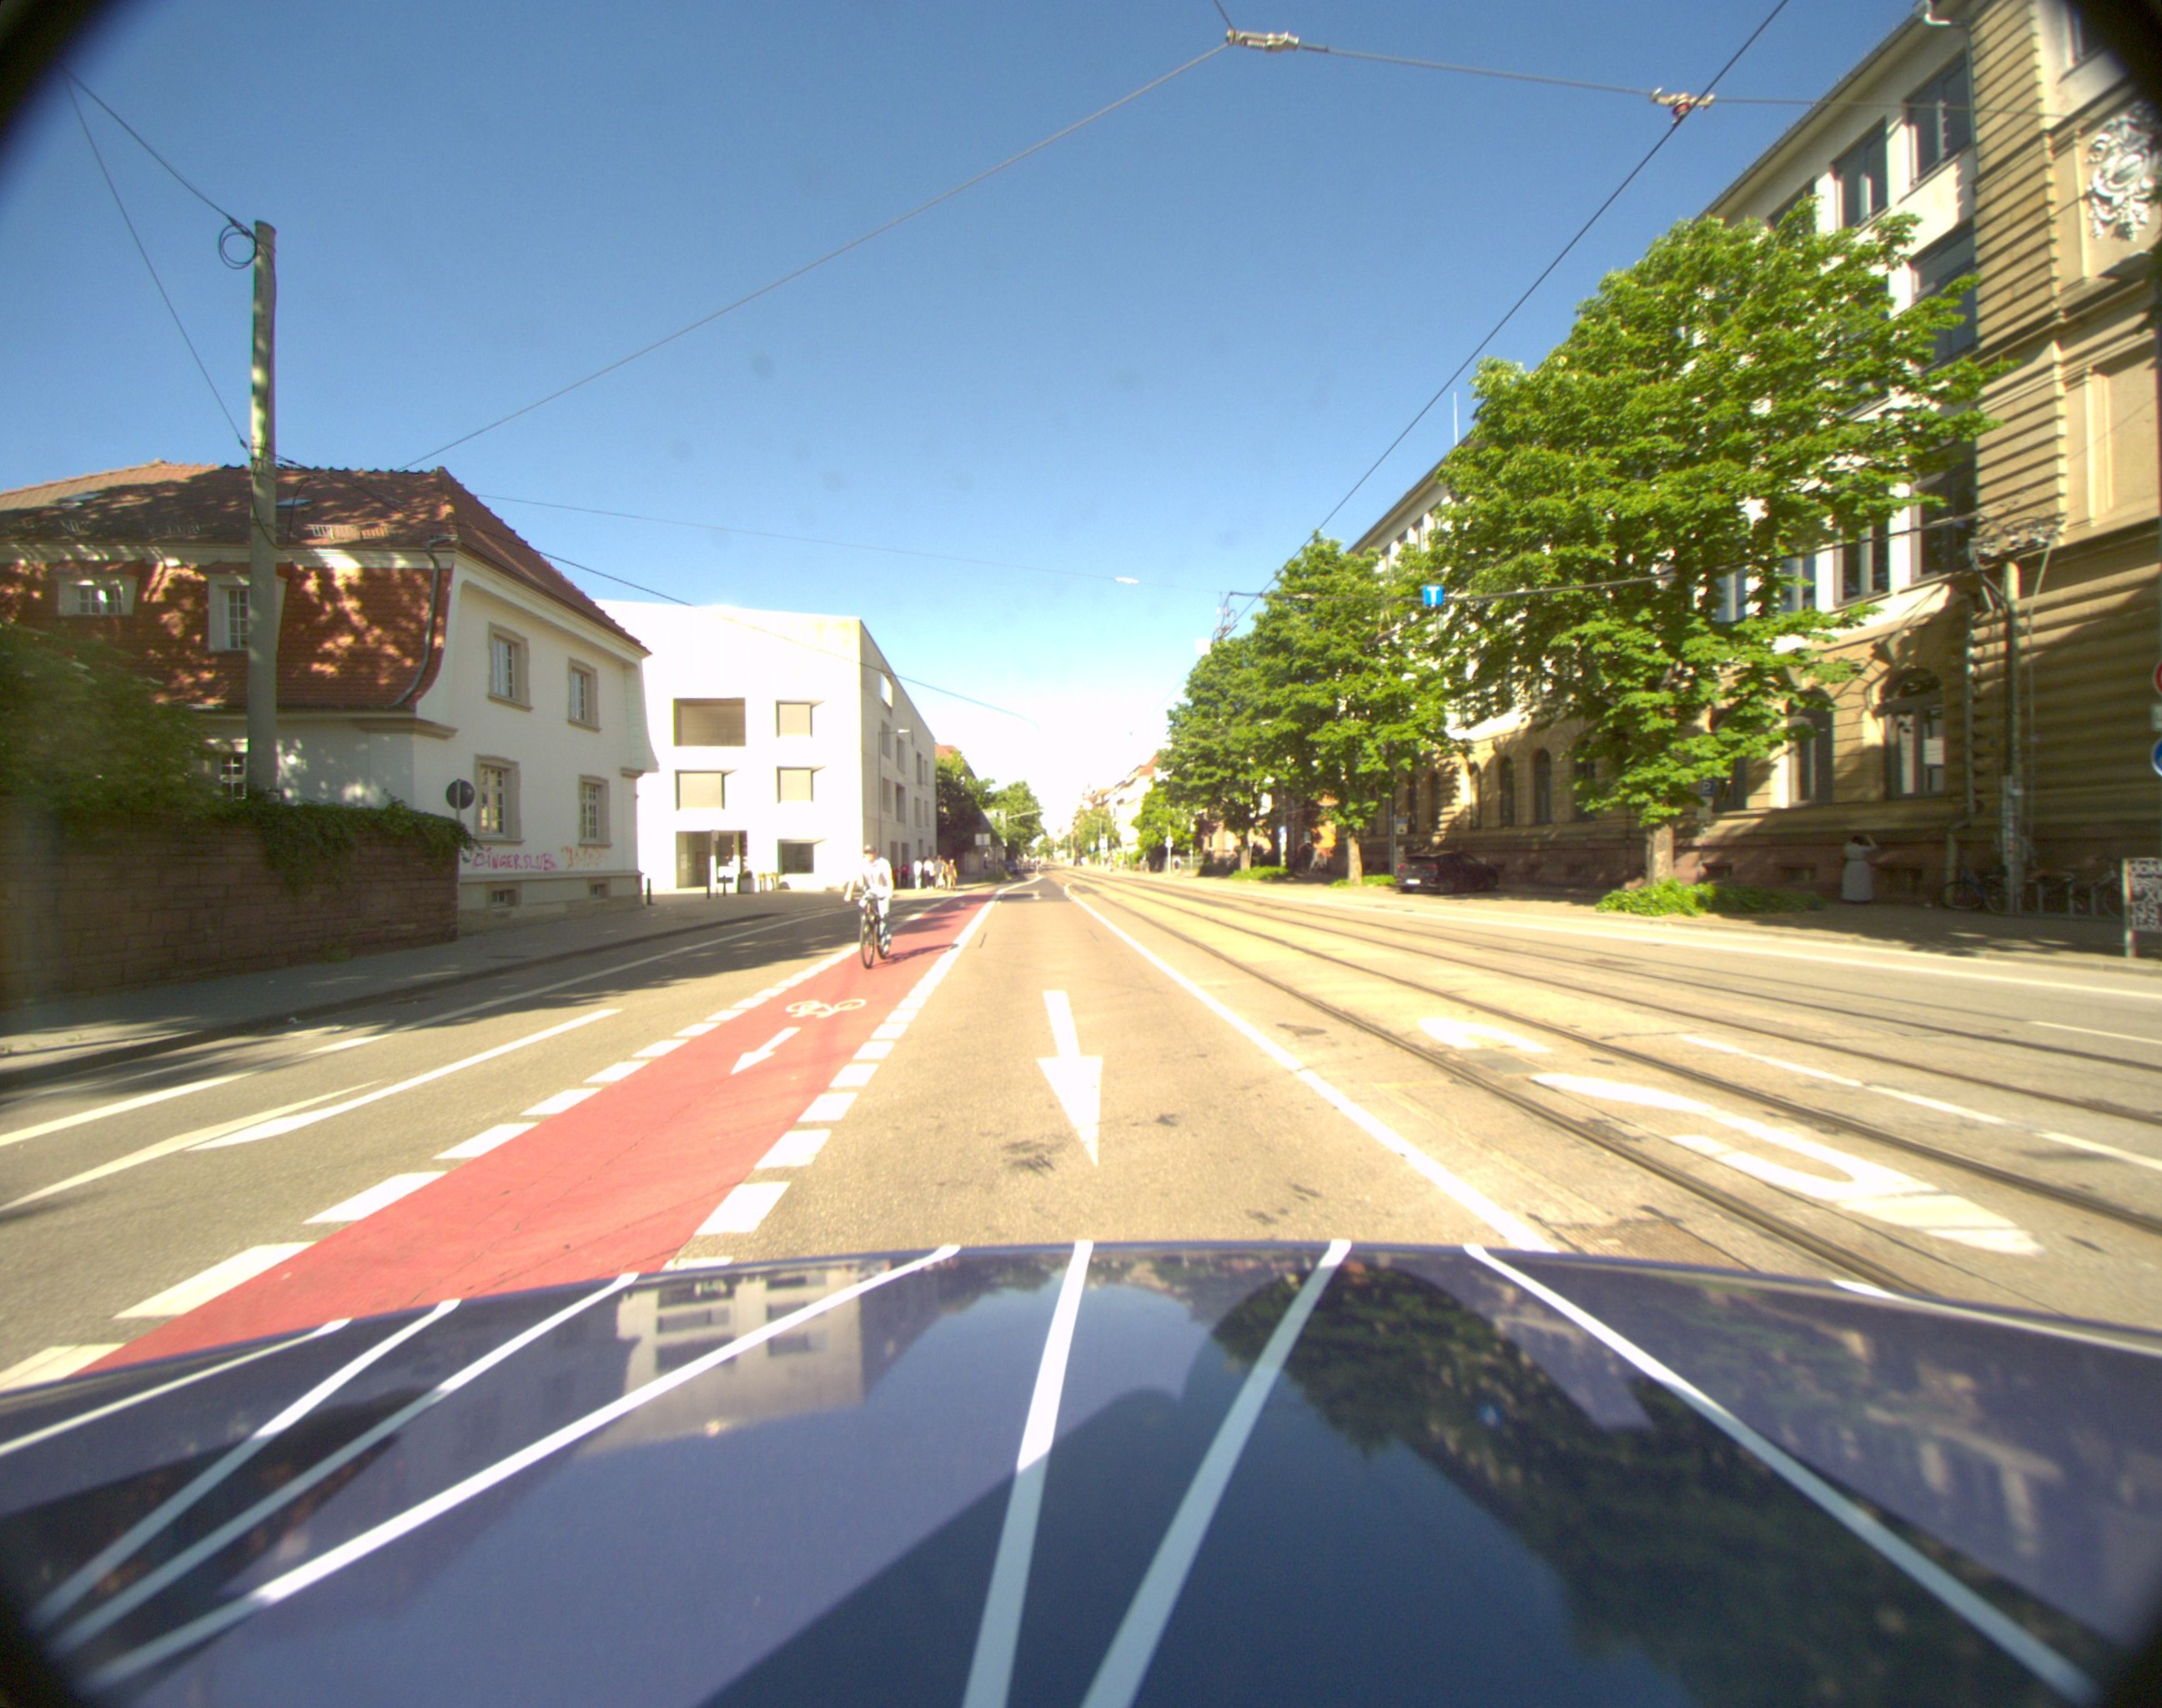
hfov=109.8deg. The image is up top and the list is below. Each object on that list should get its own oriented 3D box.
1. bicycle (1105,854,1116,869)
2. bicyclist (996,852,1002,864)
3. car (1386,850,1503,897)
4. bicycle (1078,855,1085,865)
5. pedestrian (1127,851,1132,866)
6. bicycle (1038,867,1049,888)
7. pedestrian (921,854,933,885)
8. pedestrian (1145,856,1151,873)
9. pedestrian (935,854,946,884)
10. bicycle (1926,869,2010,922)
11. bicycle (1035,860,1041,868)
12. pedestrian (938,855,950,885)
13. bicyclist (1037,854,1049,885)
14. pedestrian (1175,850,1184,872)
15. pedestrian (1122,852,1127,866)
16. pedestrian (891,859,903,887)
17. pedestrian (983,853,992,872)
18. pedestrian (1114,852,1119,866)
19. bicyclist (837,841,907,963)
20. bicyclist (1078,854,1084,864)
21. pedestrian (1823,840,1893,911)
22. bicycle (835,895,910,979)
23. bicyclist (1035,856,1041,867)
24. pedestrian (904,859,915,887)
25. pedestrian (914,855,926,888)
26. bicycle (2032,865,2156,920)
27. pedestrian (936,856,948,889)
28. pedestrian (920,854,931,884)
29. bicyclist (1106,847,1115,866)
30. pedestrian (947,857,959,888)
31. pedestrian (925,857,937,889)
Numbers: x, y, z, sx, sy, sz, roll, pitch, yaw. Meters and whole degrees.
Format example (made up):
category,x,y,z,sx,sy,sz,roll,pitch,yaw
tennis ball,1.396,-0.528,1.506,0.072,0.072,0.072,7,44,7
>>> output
category,x,y,z,sx,sy,sz,roll,pitch,yaw
bicycle,3.507,0.843,90.674,1.003,1.672,2.984,-2,1,-1
bicyclist,-14.522,0.702,134.182,0.813,2.194,0.984,-2,1,-2
car,13.441,0.670,28.030,4.117,1.565,1.916,-1,0,-31
bicycle,0.023,1.115,136.707,1.003,1.672,2.983,-2,1,-3
pedestrian,6.362,0.596,99.375,0.578,1.845,0.684,-1,1,-3
bicycle,-3.770,2.345,76.247,1.003,1.876,3.892,-2,1,-2
pedestrian,-8.986,0.886,44.321,0.588,1.795,0.582,-1,1,-4
pedestrian,7.352,1.149,83.324,0.578,1.845,0.654,-1,1,-3
pedestrian,-8.584,0.889,46.336,0.588,1.795,0.545,-1,1,-4
bicycle,17.488,0.800,15.003,0.343,0.951,1.101,-2,1,-1
bicycle,-6.119,1.408,108.589,0.665,1.146,1.672,-2,1,1
pedestrian,-8.087,0.937,44.836,0.588,1.795,0.582,-1,1,-4
bicyclist,-3.821,1.542,76.303,1.003,2.958,1.473,-2,1,-2
pedestrian,8.497,0.624,65.482,0.728,1.845,0.654,-1,1,-1
pedestrian,5.697,0.622,99.299,0.578,1.845,0.684,-1,1,-3
pedestrian,-10.315,1.066,42.612,0.534,1.557,0.520,-1,1,-4
pedestrian,-8.865,0.806,72.029,0.678,1.728,0.931,-1,0,-2
pedestrian,4.730,0.640,100.489,0.578,1.845,0.684,-1,1,-3
bicyclist,-3.174,0.702,11.626,0.751,1.765,1.014,-2,0,0
bicyclist,0.008,0.826,136.695,1.003,1.712,0.984,-2,1,-3
pedestrian,18.009,0.477,17.621,0.858,1.557,0.673,-5,1,2
bicycle,-3.147,1.220,11.638,0.612,1.071,1.830,-2,0,0
bicyclist,-6.131,1.072,108.562,0.665,1.453,0.622,-2,1,0
pedestrian,-9.626,1.046,42.638,0.534,1.557,0.520,-1,1,-4
pedestrian,-9.016,0.969,42.532,0.588,1.795,0.545,-1,1,-4
bicycle,18.143,0.667,13.651,0.398,0.898,1.360,-2,1,-1
pedestrian,-7.767,1.025,42.383,0.588,1.795,0.520,-1,1,-4
pedestrian,-9.460,0.921,46.259,0.588,1.795,0.545,-1,1,-4
bicyclist,3.488,0.299,90.615,1.003,2.255,1.020,-2,1,-1
pedestrian,-7.151,1.040,42.494,0.588,1.717,0.520,-1,1,-4
pedestrian,-8.392,1.045,42.507,0.588,1.795,0.545,-1,1,-4
